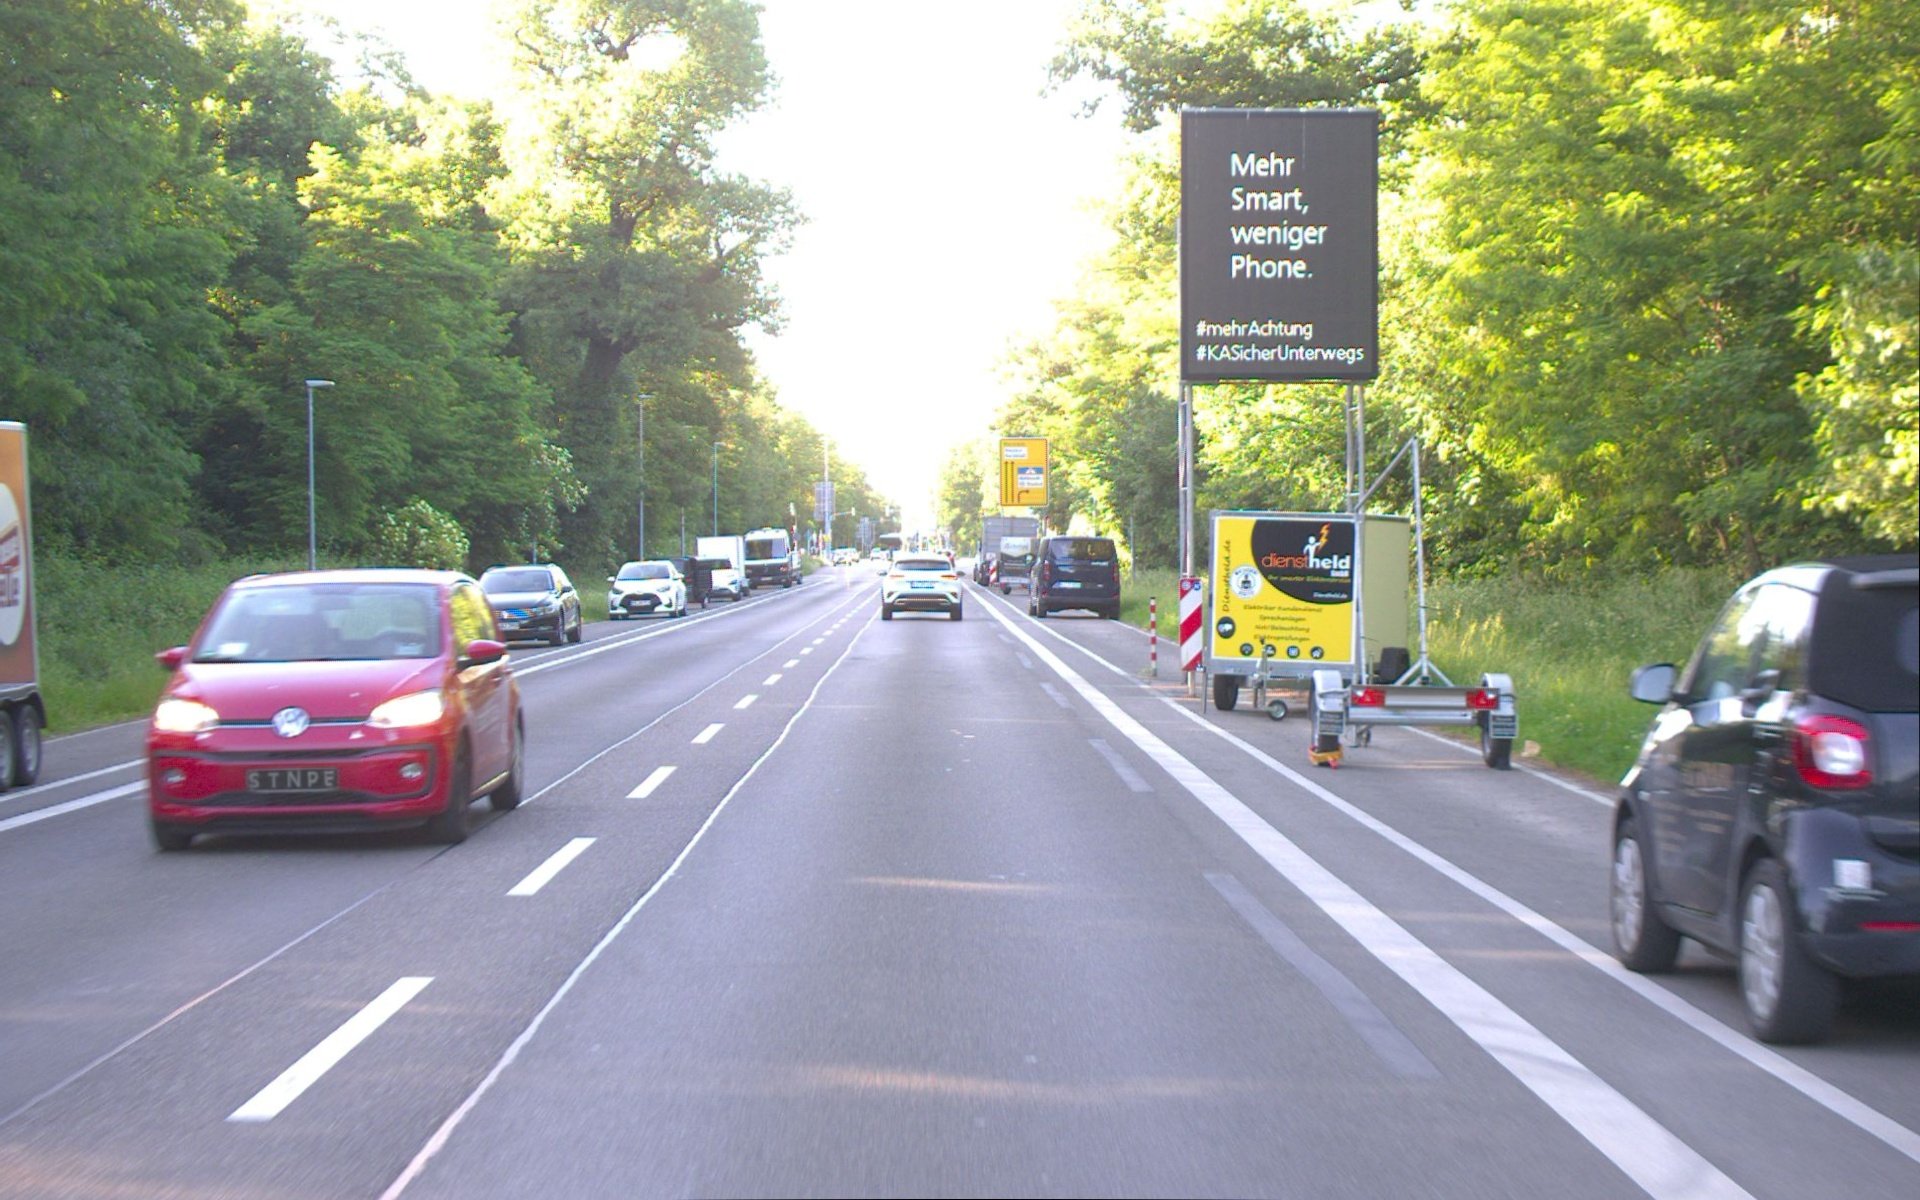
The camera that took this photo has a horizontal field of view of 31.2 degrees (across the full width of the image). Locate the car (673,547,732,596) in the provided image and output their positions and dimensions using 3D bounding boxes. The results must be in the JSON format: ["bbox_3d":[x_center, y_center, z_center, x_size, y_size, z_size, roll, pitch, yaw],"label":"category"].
[{"bbox_3d":[-8.748,-0.996,117.043,1.814,1.566,4.207,-2,1,-2],"label":"car"}]

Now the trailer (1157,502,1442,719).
[{"bbox_3d":[3.428,0.059,34.101,1.964,2.016,3.840,0,1,19],"label":"trailer"}]

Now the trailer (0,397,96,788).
[{"bbox_3d":[-7.413,-0.053,23.482,1.993,2.612,4.086,0,1,0],"label":"trailer"}]

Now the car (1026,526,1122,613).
[{"bbox_3d":[2.759,-0.759,84.112,2.113,2.007,5.040,2,1,0],"label":"car"}]

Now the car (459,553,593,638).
[{"bbox_3d":[-7.800,-0.106,62.207,1.855,1.459,4.784,0,1,-1],"label":"car"}]

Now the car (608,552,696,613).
[{"bbox_3d":[-7.961,-0.471,89.112,1.867,1.445,4.071,-3,1,0],"label":"car"}]

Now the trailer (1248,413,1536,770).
[{"bbox_3d":[3.219,-0.078,26.281,1.613,2.500,4.000,1,0,-1],"label":"trailer"}]

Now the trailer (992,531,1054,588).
[{"bbox_3d":[2.355,-1.522,128.339,1.616,2.105,2.394,1,1,20],"label":"trailer"}]

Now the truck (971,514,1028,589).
[{"bbox_3d":[1.780,-2.217,158.271,2.505,3.355,7.107,1,1,0],"label":"truck"}]

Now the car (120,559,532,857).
[{"bbox_3d":[-3.364,0.514,18.810,1.604,1.416,3.519,-2,1,-1],"label":"car"}]

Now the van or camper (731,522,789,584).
[{"bbox_3d":[-9.381,-2.207,161.400,2.302,2.758,5.557,-3,1,0],"label":"van or camper"}]

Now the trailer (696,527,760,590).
[{"bbox_3d":[-8.756,-1.579,130.162,2.075,2.285,3.486,-1,1,1],"label":"trailer"}]

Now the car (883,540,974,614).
[{"bbox_3d":[-0.714,-0.544,78.346,1.993,1.634,4.000,0,1,-1],"label":"car"}]

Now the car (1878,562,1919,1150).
[{"bbox_3d":[3.368,0.706,6.841,1.734,1.482,4.401,2,1,-2],"label":"car"}]

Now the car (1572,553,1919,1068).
[{"bbox_3d":[3.205,0.626,11.831,1.586,1.525,3.011,1,1,-1],"label":"car"}]
